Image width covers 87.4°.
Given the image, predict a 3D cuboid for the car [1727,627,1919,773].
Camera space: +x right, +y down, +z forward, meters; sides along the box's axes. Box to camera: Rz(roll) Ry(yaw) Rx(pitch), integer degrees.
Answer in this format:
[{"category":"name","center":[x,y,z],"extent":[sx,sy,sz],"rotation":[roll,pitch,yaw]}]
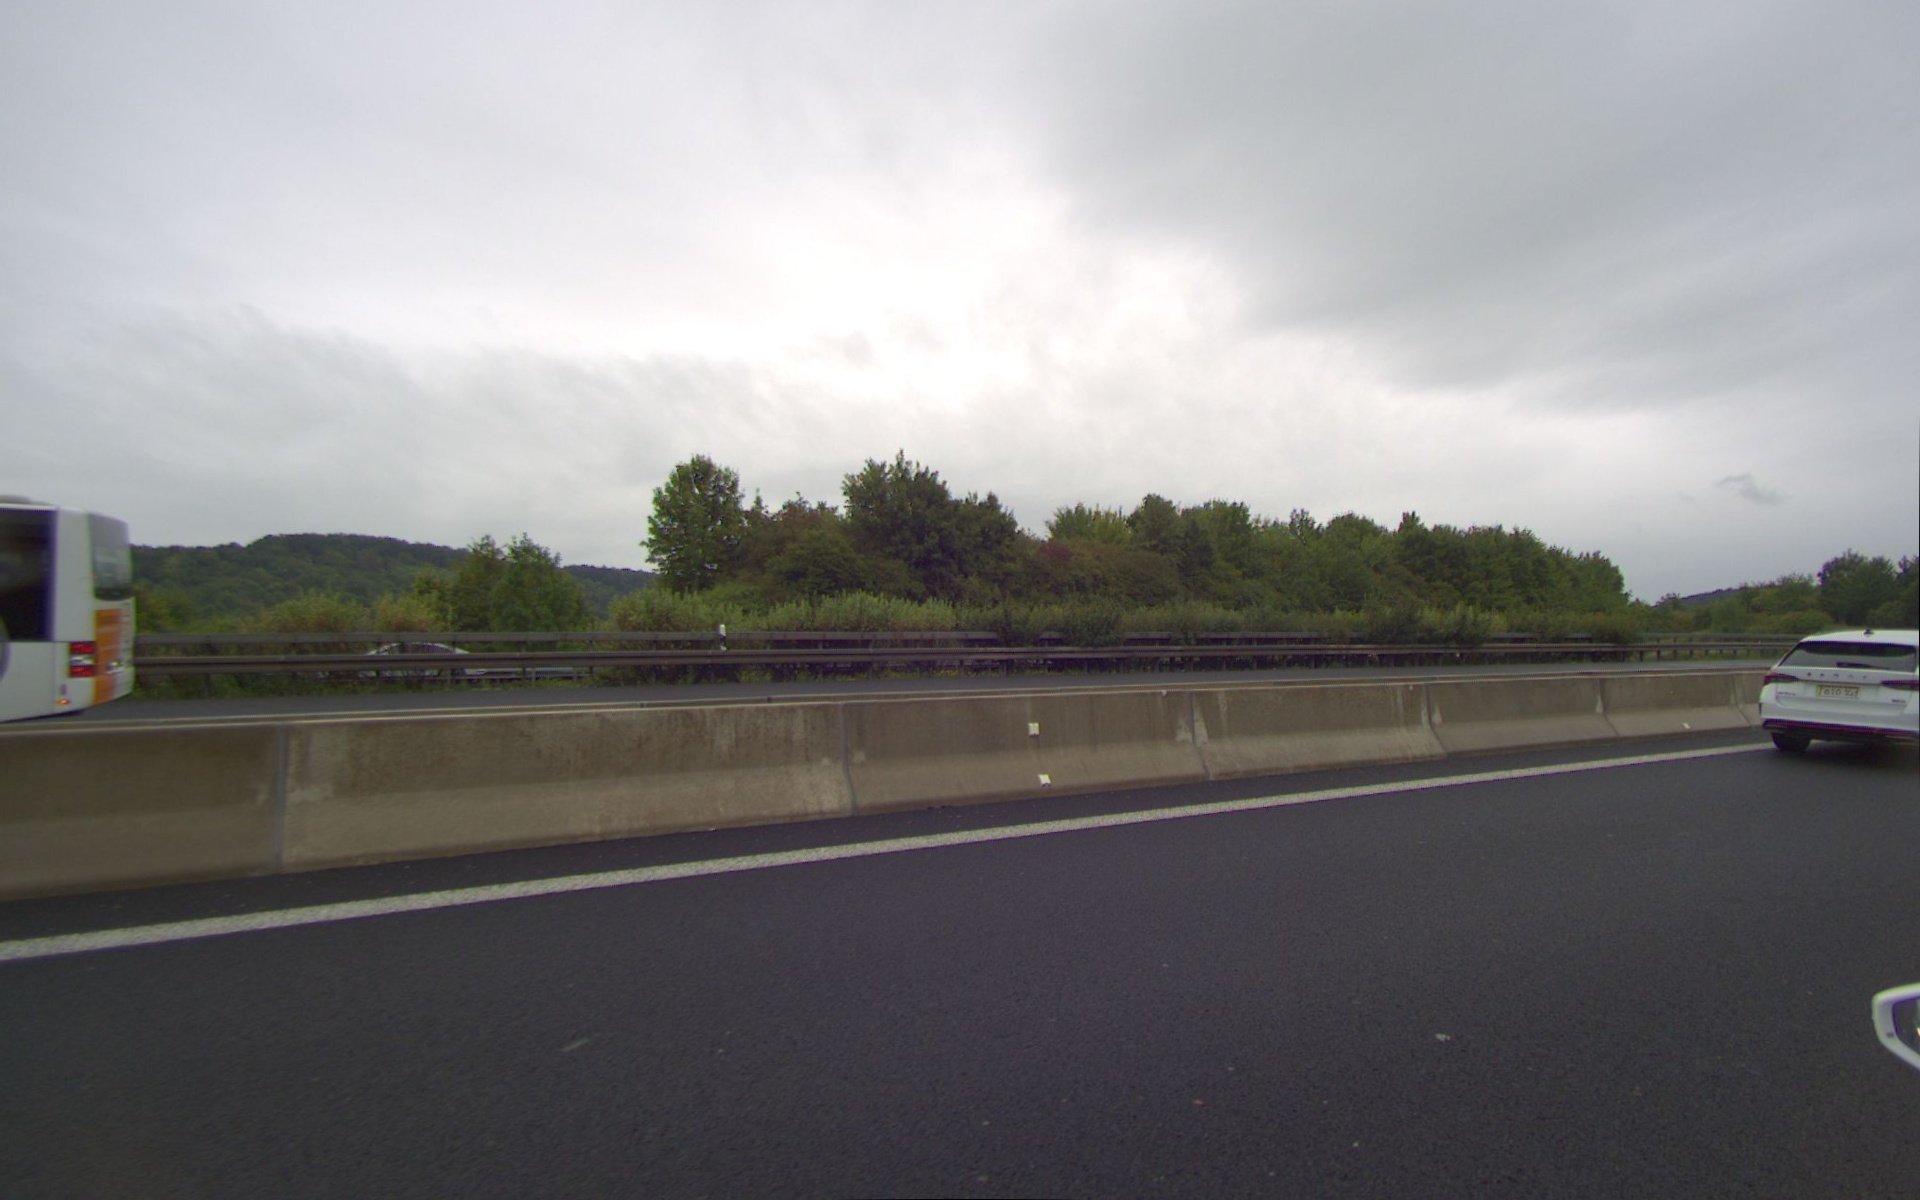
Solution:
[{"category":"car","center":[11.371,1.090,12.025],"extent":[4.721,1.475,1.810],"rotation":[2,-2,-30]}]

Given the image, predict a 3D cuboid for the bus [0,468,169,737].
[{"category":"bus","center":[-15.512,-0.070,9.903],"extent":[11.760,2.997,2.685],"rotation":[2,-2,-31]}]

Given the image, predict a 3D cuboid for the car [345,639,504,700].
[{"category":"car","center":[-17.015,2.159,32.040],"extent":[4.360,1.810,1.792],"rotation":[1,-2,-30]}]
